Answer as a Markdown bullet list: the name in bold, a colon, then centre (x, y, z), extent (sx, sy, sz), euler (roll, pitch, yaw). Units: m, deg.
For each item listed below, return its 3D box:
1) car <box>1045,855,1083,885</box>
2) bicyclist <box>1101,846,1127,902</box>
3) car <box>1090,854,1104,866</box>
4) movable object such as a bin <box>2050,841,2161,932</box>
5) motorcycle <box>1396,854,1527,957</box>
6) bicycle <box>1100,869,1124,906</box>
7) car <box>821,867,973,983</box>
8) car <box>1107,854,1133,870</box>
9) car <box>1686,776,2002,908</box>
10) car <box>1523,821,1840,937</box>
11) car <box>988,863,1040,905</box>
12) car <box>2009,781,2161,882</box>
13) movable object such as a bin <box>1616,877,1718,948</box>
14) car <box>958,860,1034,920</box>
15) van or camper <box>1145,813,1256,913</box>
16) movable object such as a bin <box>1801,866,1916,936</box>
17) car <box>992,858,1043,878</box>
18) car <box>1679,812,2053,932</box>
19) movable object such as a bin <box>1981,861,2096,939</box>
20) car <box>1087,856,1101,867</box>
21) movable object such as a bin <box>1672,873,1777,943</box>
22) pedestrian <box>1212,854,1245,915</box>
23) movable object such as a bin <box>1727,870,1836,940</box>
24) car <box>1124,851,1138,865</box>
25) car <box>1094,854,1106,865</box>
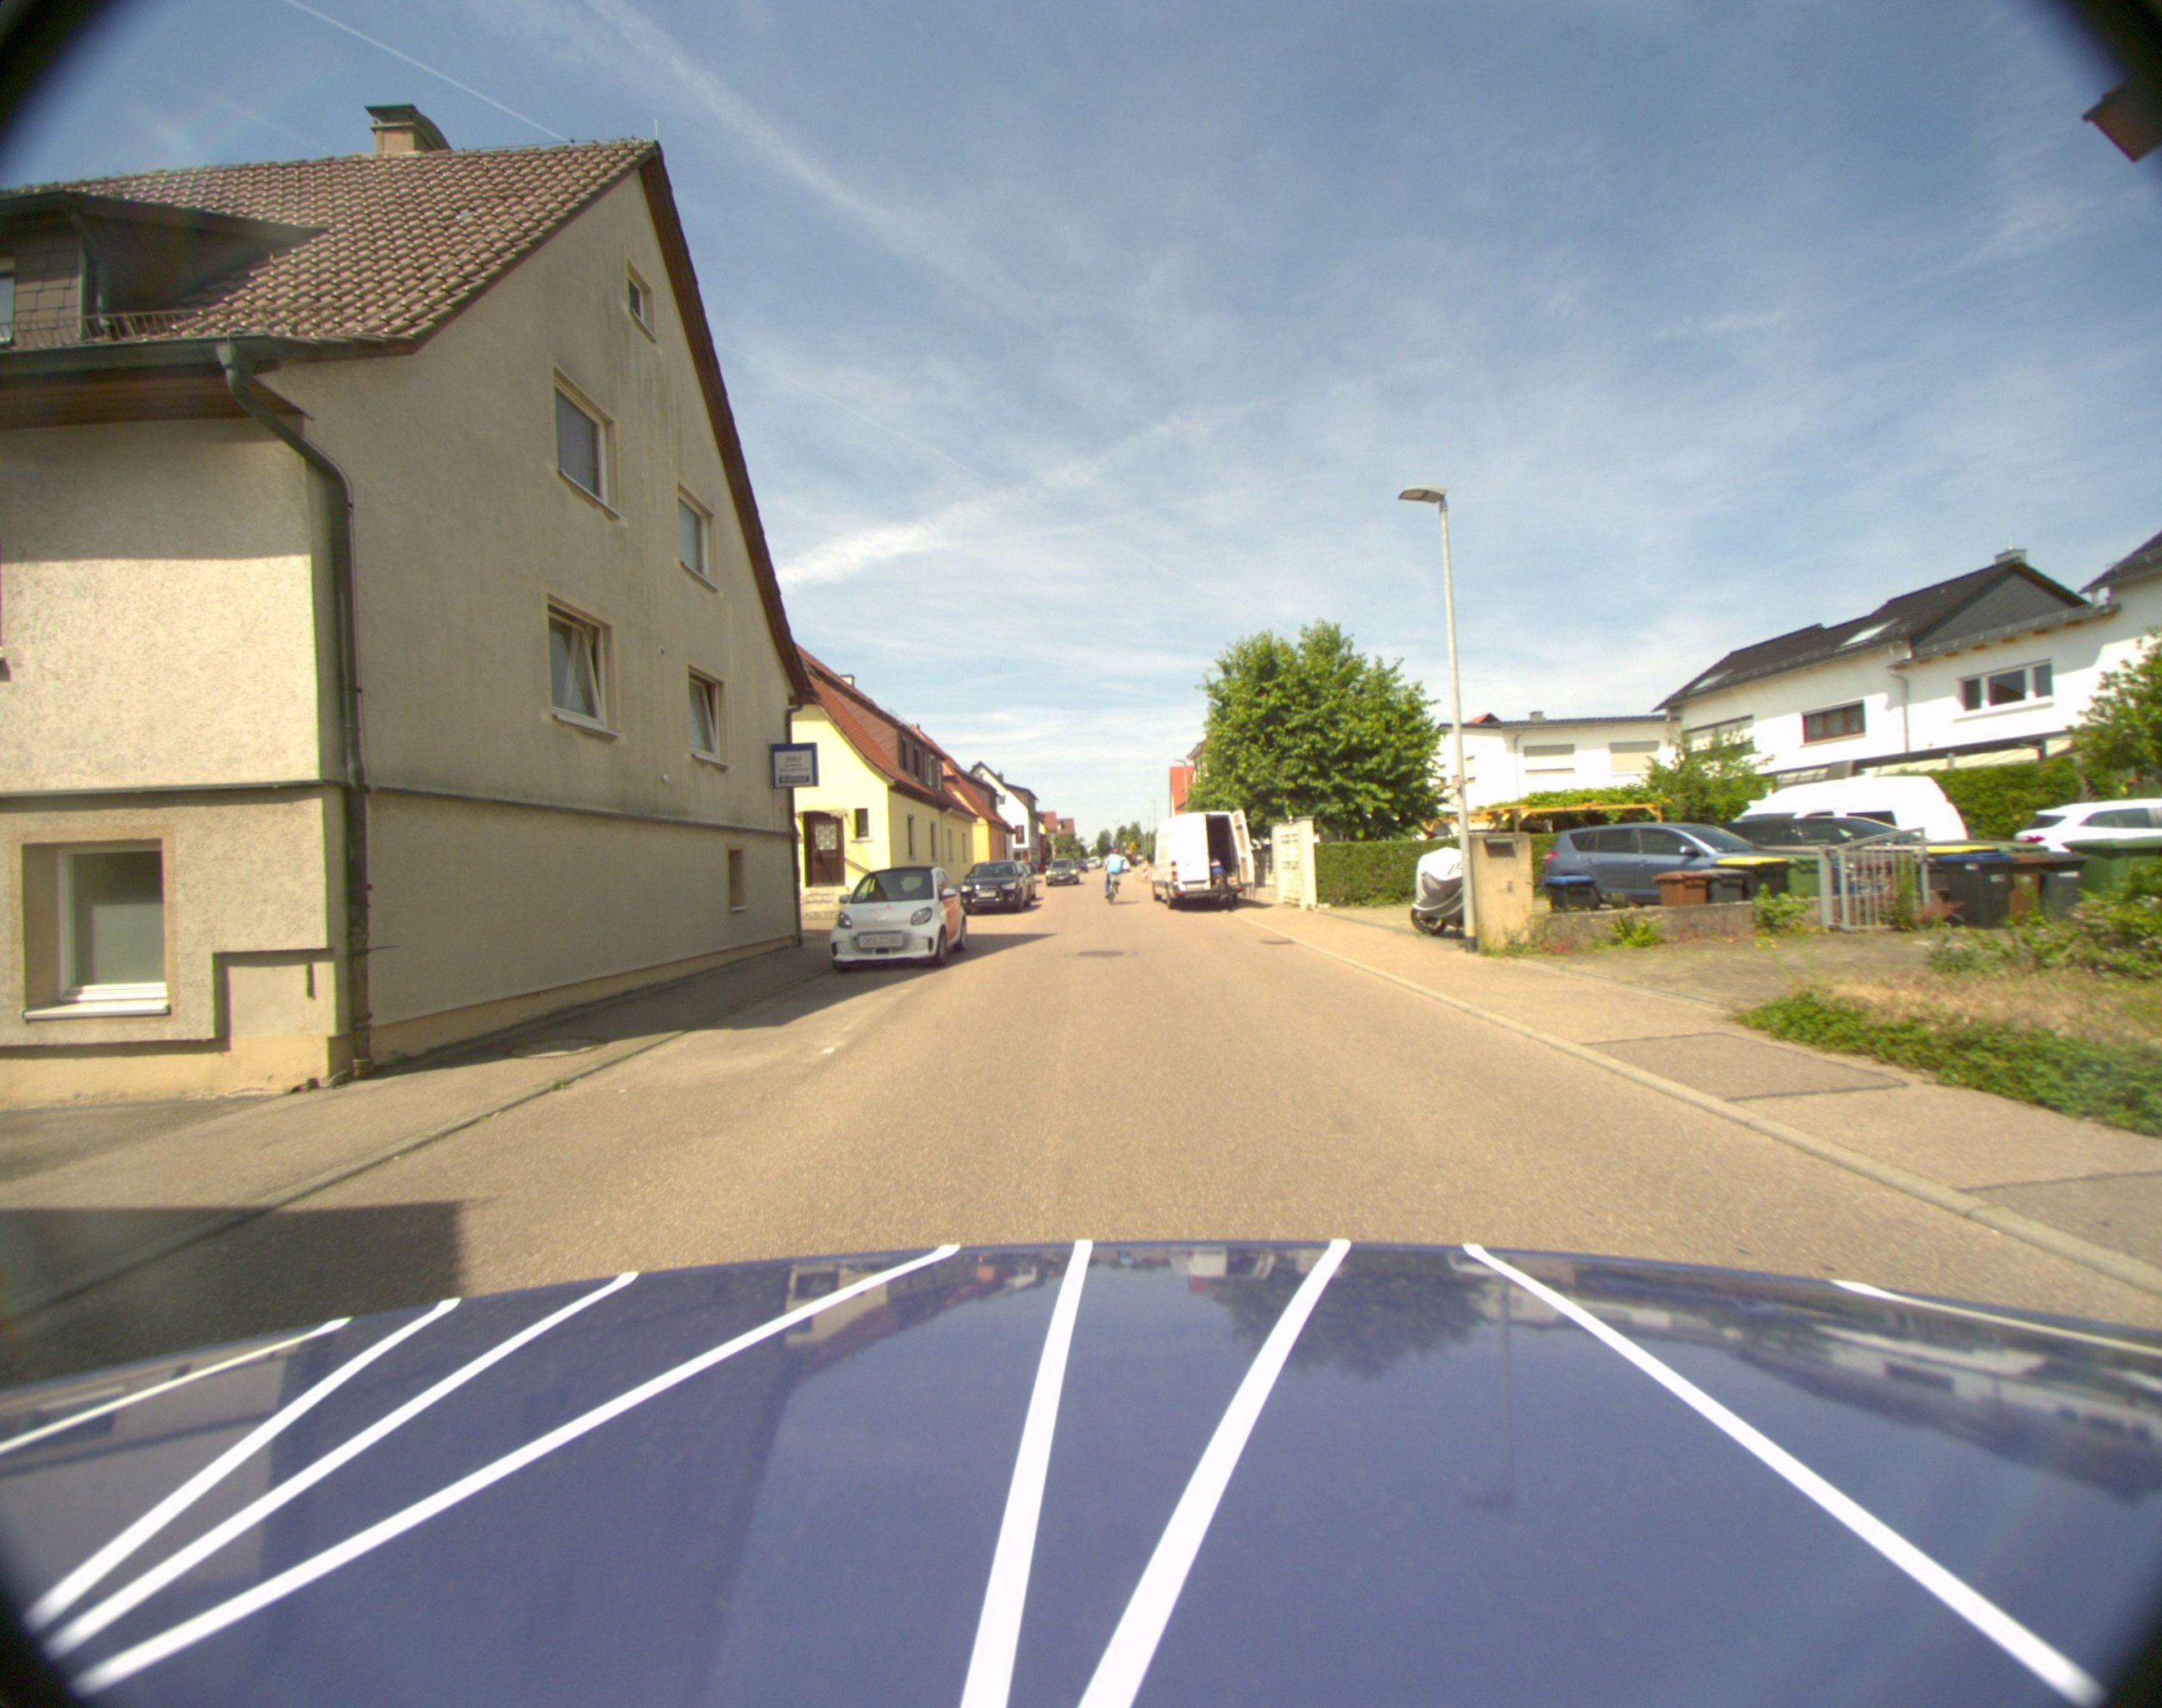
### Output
- **car**: centre (-0.974, 0.924, 45.657), extent (1.838, 1.637, 4.324), euler (-3, 0, 3)
- **bicyclist**: centre (1.082, 0.659, 25.088), extent (0.715, 1.788, 0.942), euler (-2, 0, -1)
- **car**: centre (2.491, 0.918, 117.993), extent (1.740, 1.652, 4.338), euler (-4, 0, 4)
- **movable object such as a bin**: centre (13.292, 0.383, 9.519), extent (1.188, 1.035, 0.859), euler (-3, 0, -1)
- **motorcycle**: centre (5.745, 0.713, 11.673), extent (0.785, 1.385, 2.352), euler (-2, 0, 0)
- **bicycle**: centre (1.017, 1.097, 25.285), extent (0.672, 1.126, 2.189), euler (1, 0, 0)
- **car**: centre (-2.872, 1.057, 12.516), extent (1.678, 1.550, 3.040), euler (-3, 0, 0)
- **car**: centre (3.641, 0.746, 71.621), extent (1.929, 1.390, 4.493), euler (-3, 0, -4)
- **car**: centre (16.276, -0.249, 16.405), extent (4.815, 2.478, 1.965), euler (-2, 0, -1)
- **car**: centre (10.212, 0.390, 13.292), extent (1.776, 1.668, 3.931), euler (-2, 0, -24)
- **car**: centre (-2.560, 1.116, 29.618), extent (1.615, 1.422, 3.754), euler (-3, 0, 0)
- **car**: centre (18.789, -0.430, 13.031), extent (1.776, 1.668, 3.348), euler (-3, -1, -30)
- **movable object such as a bin**: centre (8.195, 0.802, 10.658), extent (0.802, 0.900, 0.773), euler (-2, 0, 0)
- **car**: centre (-2.572, 1.040, 23.903), extent (1.733, 1.590, 4.253), euler (-3, 0, 1)
- **van or camper**: centre (3.476, 0.254, 23.659), extent (2.190, 2.556, 6.806), euler (-3, 0, 0)
- **movable object such as a bin**: centre (10.850, 0.638, 10.632), extent (0.802, 0.900, 0.773), euler (-2, 0, -2)
- **car**: centre (-5.935, 1.305, 71.126), extent (4.301, 1.643, 1.849), euler (-3, 0, 9)
- **car**: centre (13.026, 0.272, 13.017), extent (1.734, 1.668, 4.102), euler (-2, 0, -16)
- **movable object such as a bin**: centre (11.922, 0.562, 9.472), extent (0.814, 0.893, 0.478), euler (-3, 0, -1)
- **car**: centre (1.948, 1.074, 111.339), extent (1.755, 1.412, 4.422), euler (-3, 0, 4)
- **movable object such as a bin**: centre (9.006, 0.740, 10.669), extent (0.802, 0.900, 0.773), euler (-2, 0, 0)
- **pedestrian**: centre (3.838, 0.783, 19.841), extent (0.574, 1.509, 0.726), euler (-5, 1, -1)
- **movable object such as a bin**: centre (9.826, 0.702, 10.690), extent (0.802, 0.900, 0.773), euler (-2, 0, 0)
- **car**: centre (7.133, 0.523, 108.814), extent (1.972, 1.940, 4.697), euler (-2, 0, 4)
- **car**: centre (3.233, 0.857, 129.923), extent (1.669, 1.739, 4.057), euler (-4, 0, 4)
